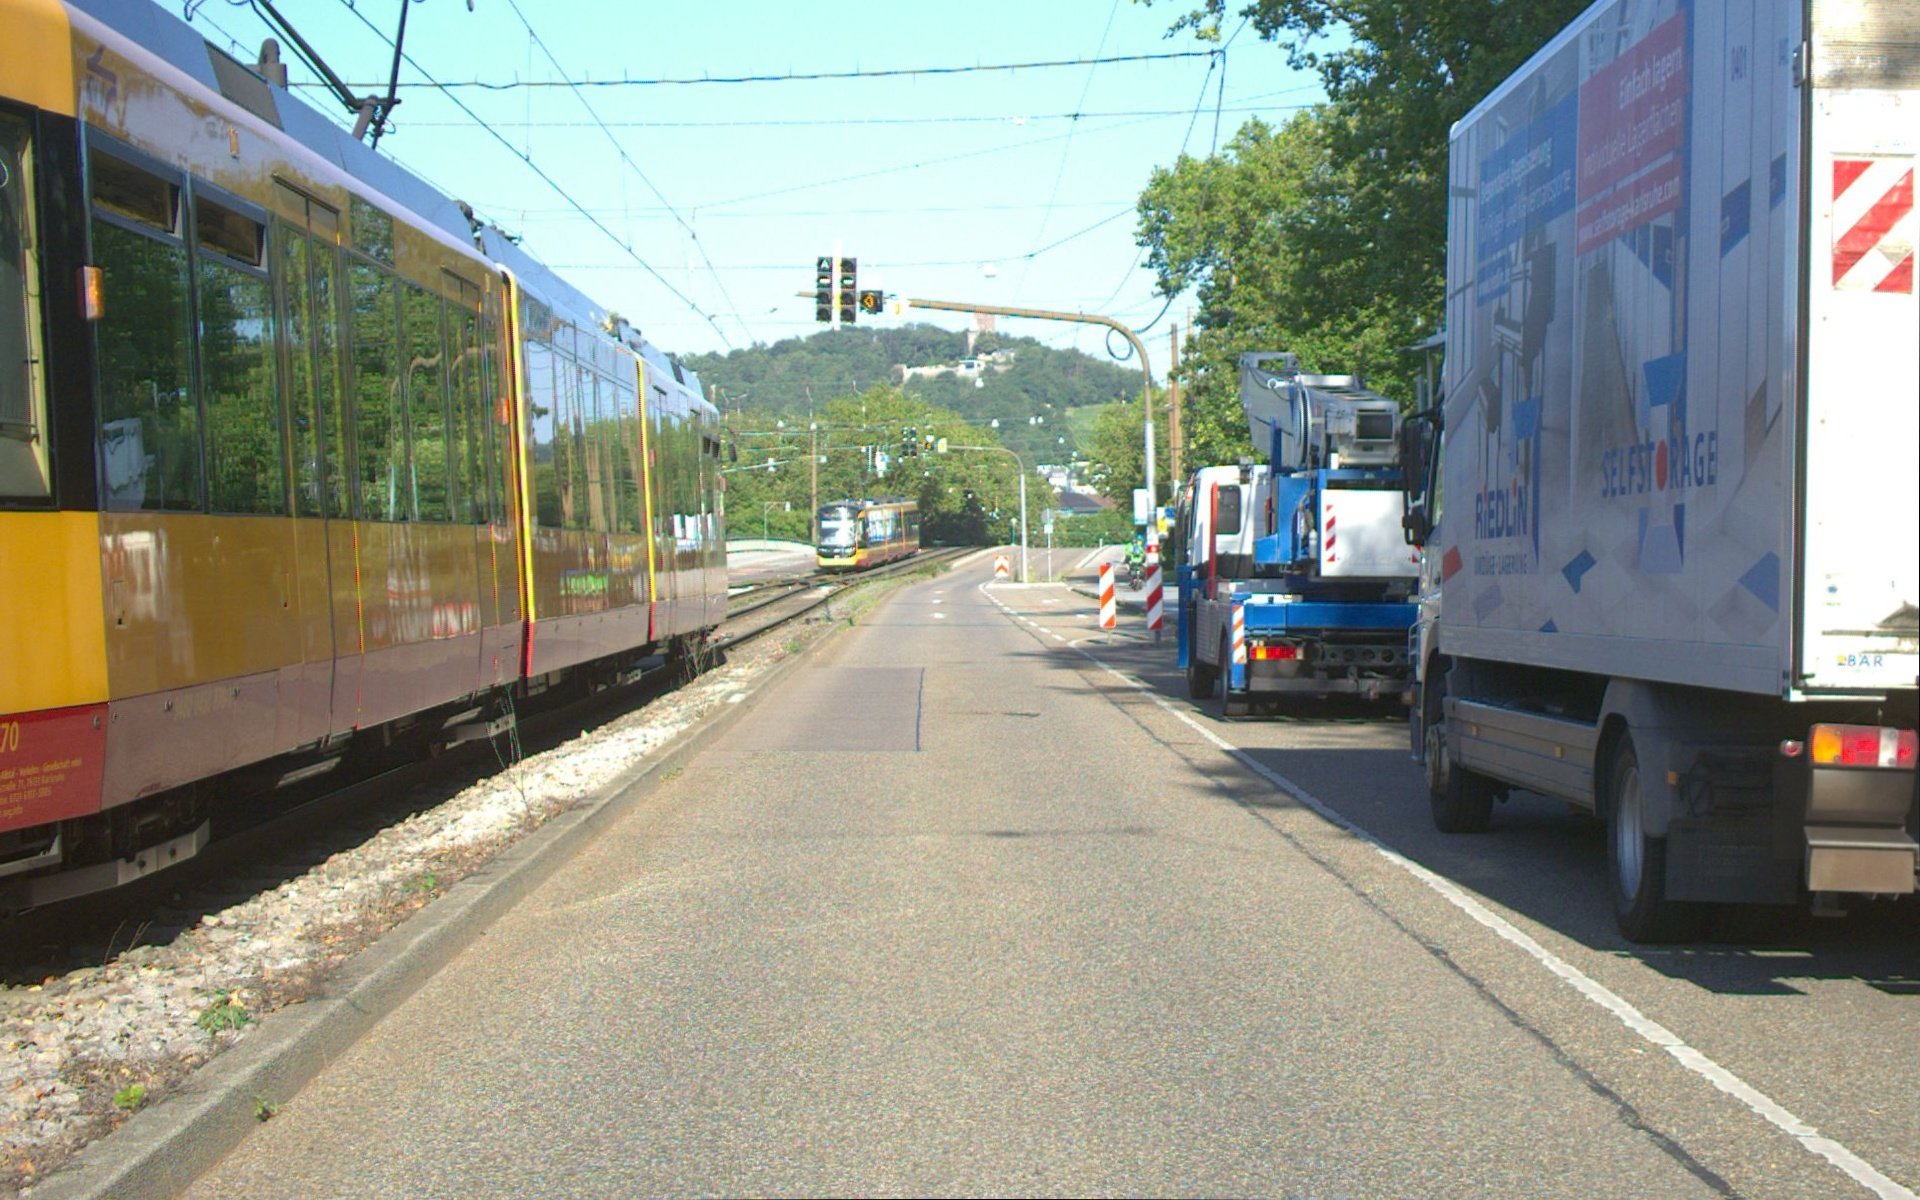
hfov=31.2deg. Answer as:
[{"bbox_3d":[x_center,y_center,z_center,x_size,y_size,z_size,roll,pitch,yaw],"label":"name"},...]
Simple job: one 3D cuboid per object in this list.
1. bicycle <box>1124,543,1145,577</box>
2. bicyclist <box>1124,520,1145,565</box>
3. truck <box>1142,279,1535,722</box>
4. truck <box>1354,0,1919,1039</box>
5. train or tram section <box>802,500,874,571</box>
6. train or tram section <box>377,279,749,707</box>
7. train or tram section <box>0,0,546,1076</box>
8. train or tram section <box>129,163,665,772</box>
[{"bbox_3d":[5.370,-1.238,105.698,0.515,1.038,1.975,-1,1,0],"label":"bicycle"},{"bbox_3d":[5.365,-1.760,105.748,0.604,1.374,0.975,-1,1,0],"label":"bicyclist"},{"bbox_3d":[3.522,-0.929,34.558,2.717,3.770,9.762,1,1,-1],"label":"truck"},{"bbox_3d":[3.791,-0.628,15.340,2.742,3.770,10.090,1,1,-1],"label":"truck"},{"bbox_3d":[-6.322,-3.369,179.588,2.644,3.554,10.831,-1,1,3],"label":"train or tram section"},{"bbox_3d":[-4.236,-1.138,39.697,2.719,4.075,12.813,-1,1,0],"label":"train or tram section"},{"bbox_3d":[-4.246,-0.695,16.584,2.721,4.077,13.616,-1,1,0],"label":"train or tram section"},{"bbox_3d":[-4.255,-0.978,28.364,2.694,4.075,9.911,-1,1,0],"label":"train or tram section"}]
